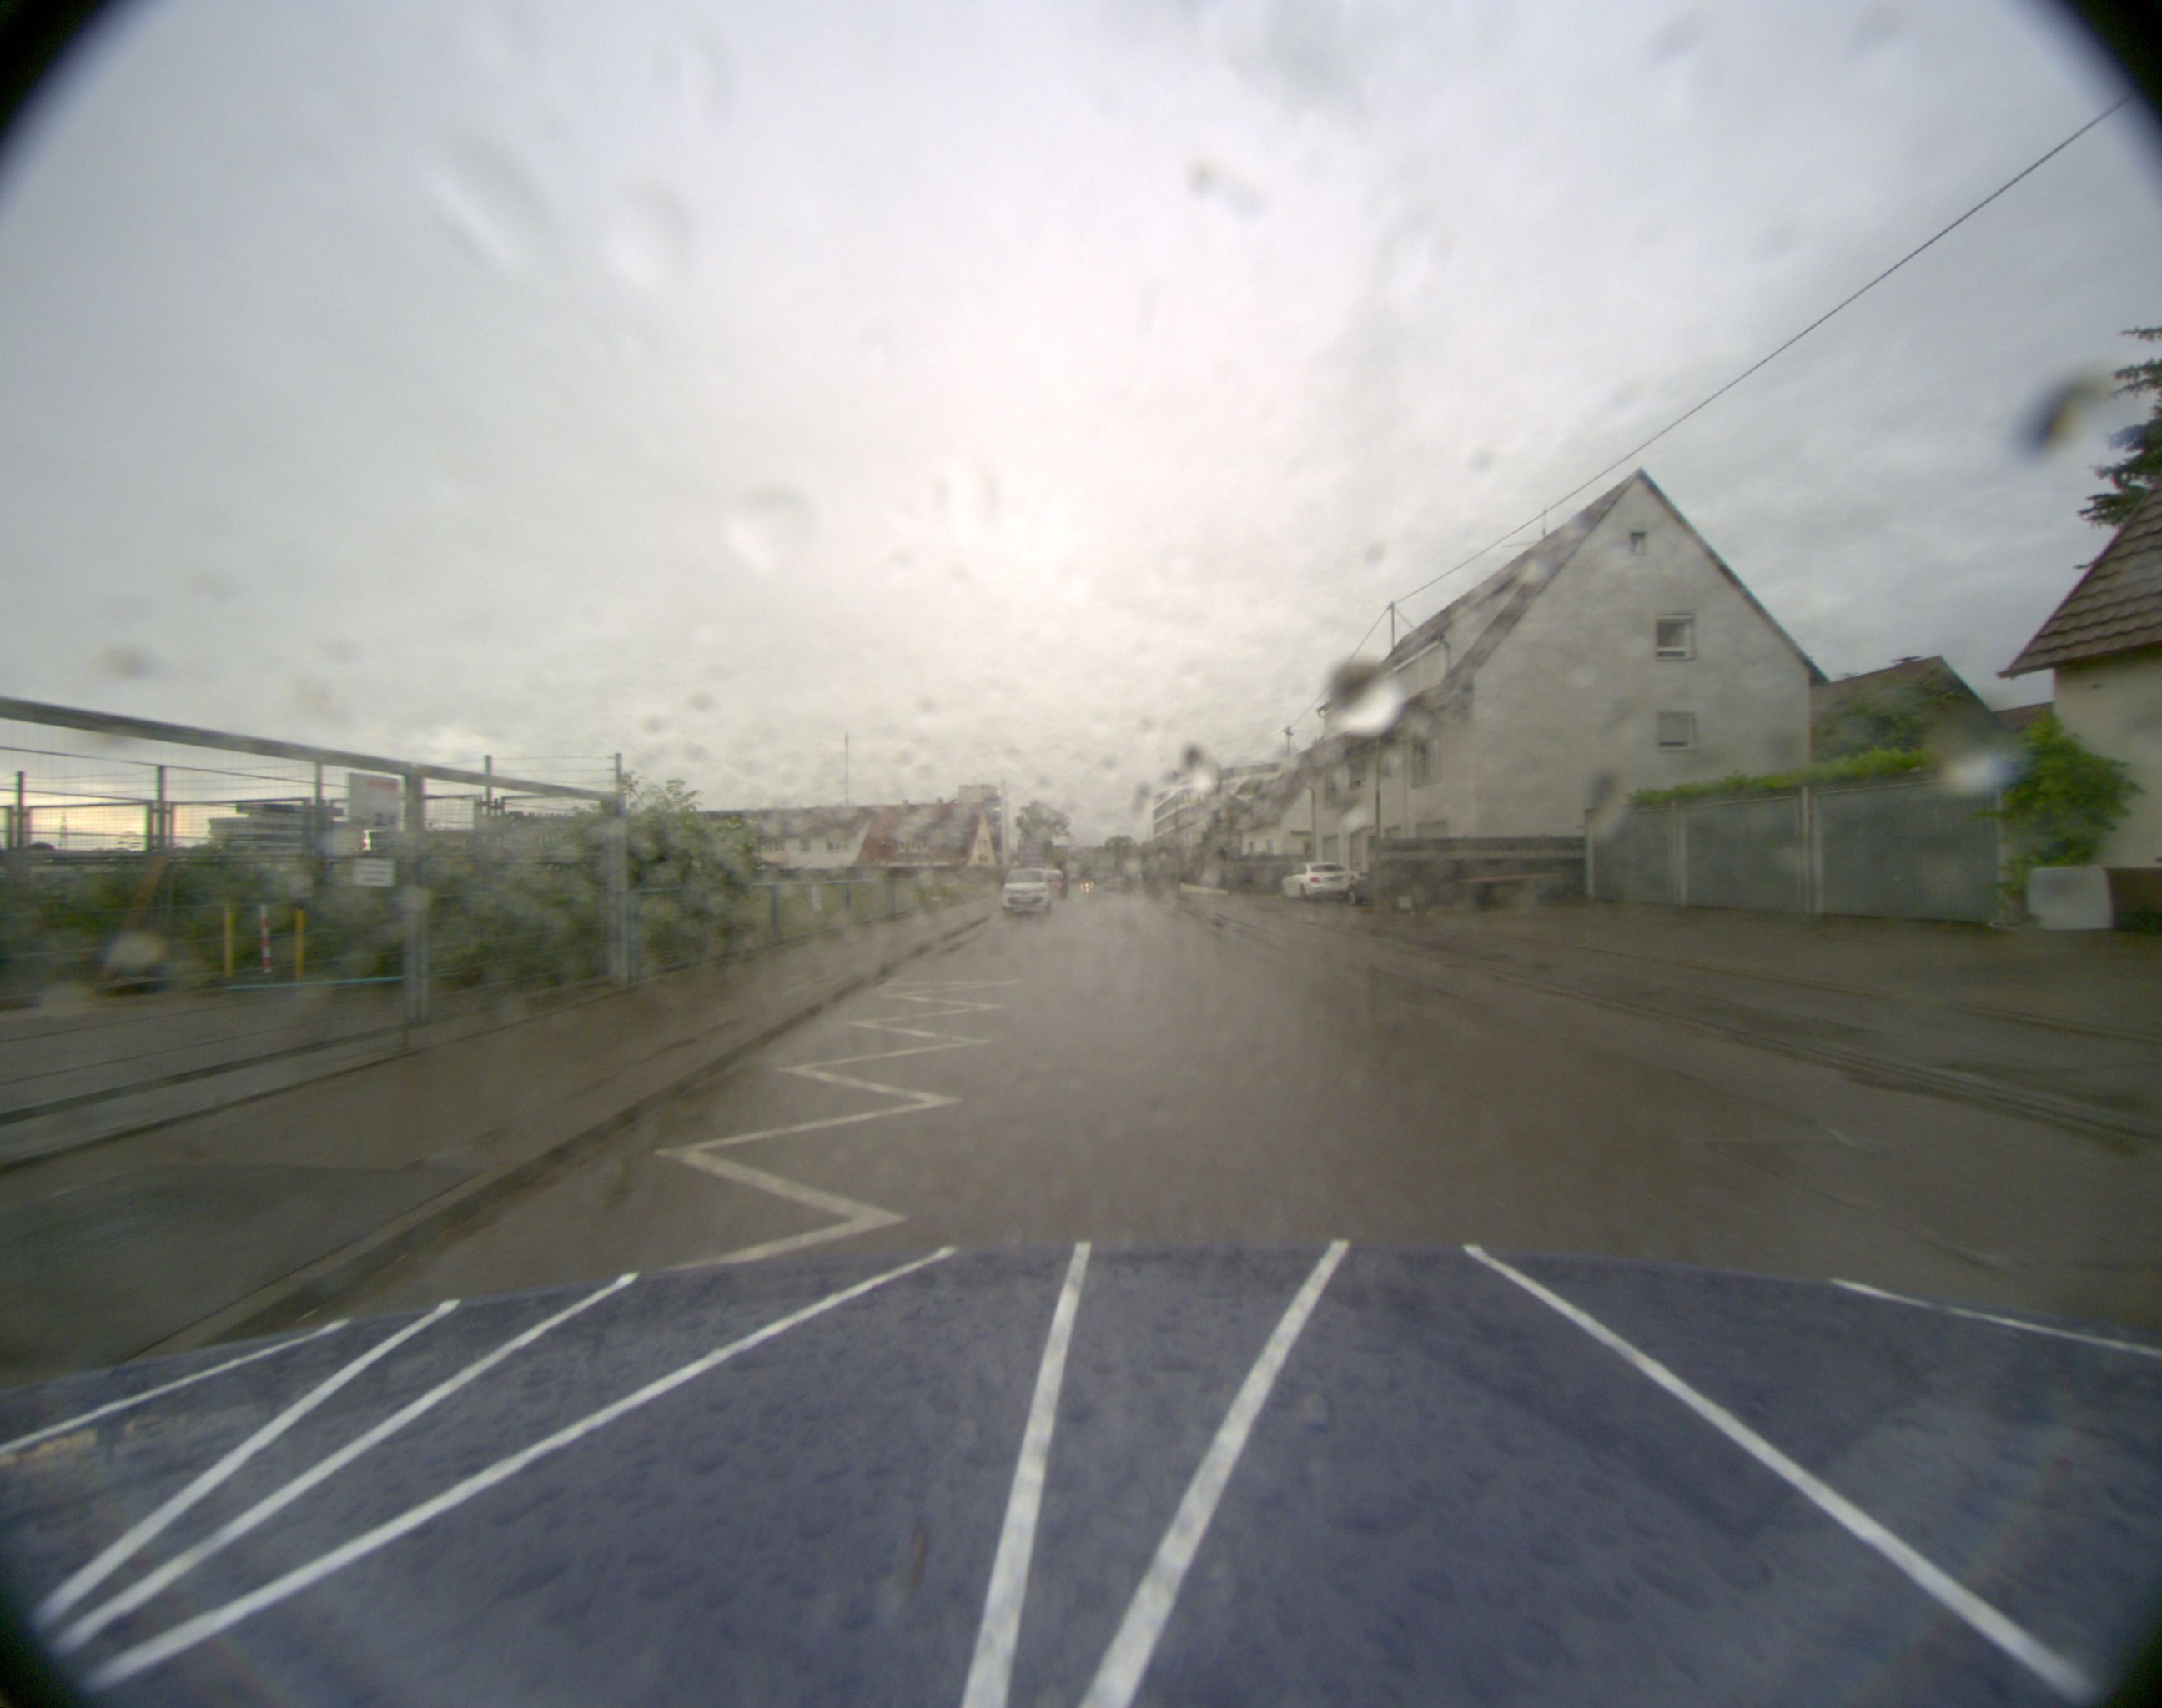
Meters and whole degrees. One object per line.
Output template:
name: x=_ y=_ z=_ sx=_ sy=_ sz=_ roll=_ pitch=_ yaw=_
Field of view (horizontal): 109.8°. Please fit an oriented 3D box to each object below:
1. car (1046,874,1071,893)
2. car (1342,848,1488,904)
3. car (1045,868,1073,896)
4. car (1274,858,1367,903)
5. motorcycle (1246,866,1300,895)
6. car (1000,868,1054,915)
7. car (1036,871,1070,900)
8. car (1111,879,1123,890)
car: x=-1.702 y=2.264 z=58.886 sx=1.773 sy=1.327 sz=4.322 roll=-2 pitch=-2 yaw=0
car: x=9.624 y=0.647 z=22.392 sx=1.832 sy=1.360 sz=4.568 roll=-4 pitch=-1 yaw=-6
car: x=-1.499 y=1.906 z=52.723 sx=1.773 sy=1.814 sz=4.575 roll=-2 pitch=-2 yaw=0
car: x=9.292 y=1.030 z=29.943 sx=1.998 sy=1.501 sz=4.896 roll=-4 pitch=-1 yaw=0
motorcycle: x=9.325 y=1.287 z=36.977 sx=2.368 sy=1.265 sz=0.736 roll=-4 pitch=-1 yaw=0
car: x=-1.918 y=1.331 z=27.913 sx=1.686 sy=1.548 sz=3.675 roll=-2 pitch=-1 yaw=0
car: x=-1.626 y=1.863 z=45.410 sx=1.646 sy=1.565 sz=4.645 roll=-2 pitch=-2 yaw=2
car: x=5.854 y=4.961 z=123.696 sx=1.841 sy=1.695 sz=4.325 roll=-1 pitch=-2 yaw=2
